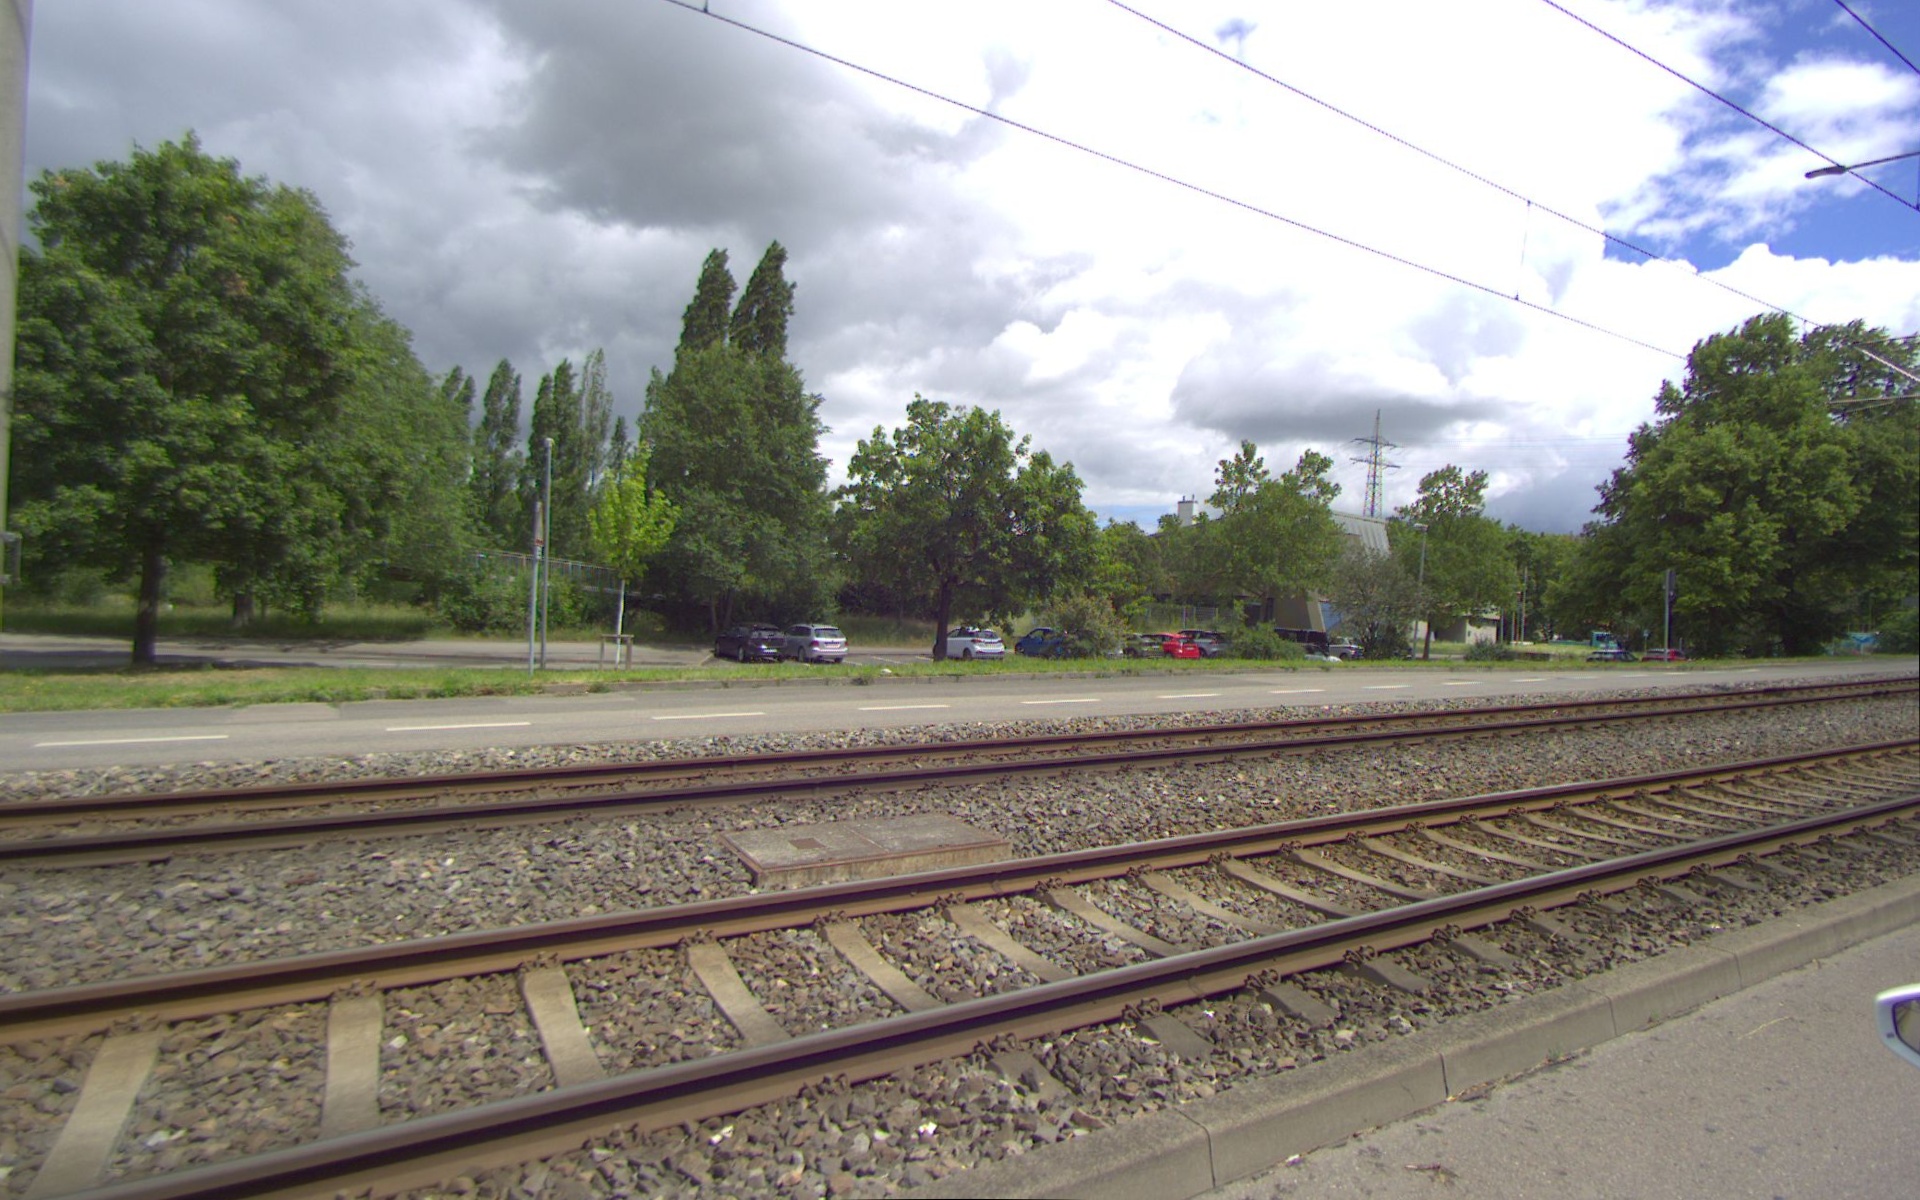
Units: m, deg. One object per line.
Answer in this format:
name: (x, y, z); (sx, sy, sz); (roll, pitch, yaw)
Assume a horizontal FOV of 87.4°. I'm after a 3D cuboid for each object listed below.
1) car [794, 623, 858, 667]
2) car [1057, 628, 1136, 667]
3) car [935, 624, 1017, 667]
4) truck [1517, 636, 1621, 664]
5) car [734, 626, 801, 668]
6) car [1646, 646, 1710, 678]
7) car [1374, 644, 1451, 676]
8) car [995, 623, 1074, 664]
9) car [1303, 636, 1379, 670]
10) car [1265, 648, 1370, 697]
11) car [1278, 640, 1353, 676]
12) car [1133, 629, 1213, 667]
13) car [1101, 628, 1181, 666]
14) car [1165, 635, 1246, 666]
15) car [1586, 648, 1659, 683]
car: (-5.448, 1.778, 40.506); (1.551, 1.409, 3.860); (4, 0, -23)
car: (6.535, 2.240, 48.390); (1.966, 1.601, 3.943); (1, 1, -24)
car: (0.657, 1.978, 44.348); (1.821, 1.601, 3.897); (1, 1, -30)
truck: (63.324, 5.126, 104.657); (2.593, 2.730, 9.019); (2, -3, -39)
car: (-7.639, 1.814, 39.554); (1.753, 1.293, 3.955); (4, 0, -23)
car: (42.492, 3.647, 59.461); (3.958, 1.795, 1.805); (2, -1, -34)
car: (27.197, 3.586, 60.452); (1.833, 1.620, 3.977); (3, 0, -23)
car: (3.321, 1.932, 45.490); (1.844, 1.601, 3.943); (1, 1, -24)
car: (22.116, 3.072, 58.460); (1.832, 1.620, 3.979); (3, 0, -22)
car: (14.803, 2.945, 41.558); (4.024, 1.779, 1.978); (1, 1, -32)
car: (19.250, 3.141, 54.537); (1.923, 1.659, 3.588); (3, 0, -22)
car: (10.721, 2.406, 50.753); (1.969, 1.601, 3.943); (1, 1, -24)
car: (8.889, 2.300, 49.666); (1.969, 1.601, 3.943); (1, 1, -24)
car: (12.589, 2.587, 51.769); (1.969, 1.269, 4.070); (1, 1, -24)
car: (36.552, 3.573, 55.445); (3.953, 1.795, 1.807); (2, -1, -30)
